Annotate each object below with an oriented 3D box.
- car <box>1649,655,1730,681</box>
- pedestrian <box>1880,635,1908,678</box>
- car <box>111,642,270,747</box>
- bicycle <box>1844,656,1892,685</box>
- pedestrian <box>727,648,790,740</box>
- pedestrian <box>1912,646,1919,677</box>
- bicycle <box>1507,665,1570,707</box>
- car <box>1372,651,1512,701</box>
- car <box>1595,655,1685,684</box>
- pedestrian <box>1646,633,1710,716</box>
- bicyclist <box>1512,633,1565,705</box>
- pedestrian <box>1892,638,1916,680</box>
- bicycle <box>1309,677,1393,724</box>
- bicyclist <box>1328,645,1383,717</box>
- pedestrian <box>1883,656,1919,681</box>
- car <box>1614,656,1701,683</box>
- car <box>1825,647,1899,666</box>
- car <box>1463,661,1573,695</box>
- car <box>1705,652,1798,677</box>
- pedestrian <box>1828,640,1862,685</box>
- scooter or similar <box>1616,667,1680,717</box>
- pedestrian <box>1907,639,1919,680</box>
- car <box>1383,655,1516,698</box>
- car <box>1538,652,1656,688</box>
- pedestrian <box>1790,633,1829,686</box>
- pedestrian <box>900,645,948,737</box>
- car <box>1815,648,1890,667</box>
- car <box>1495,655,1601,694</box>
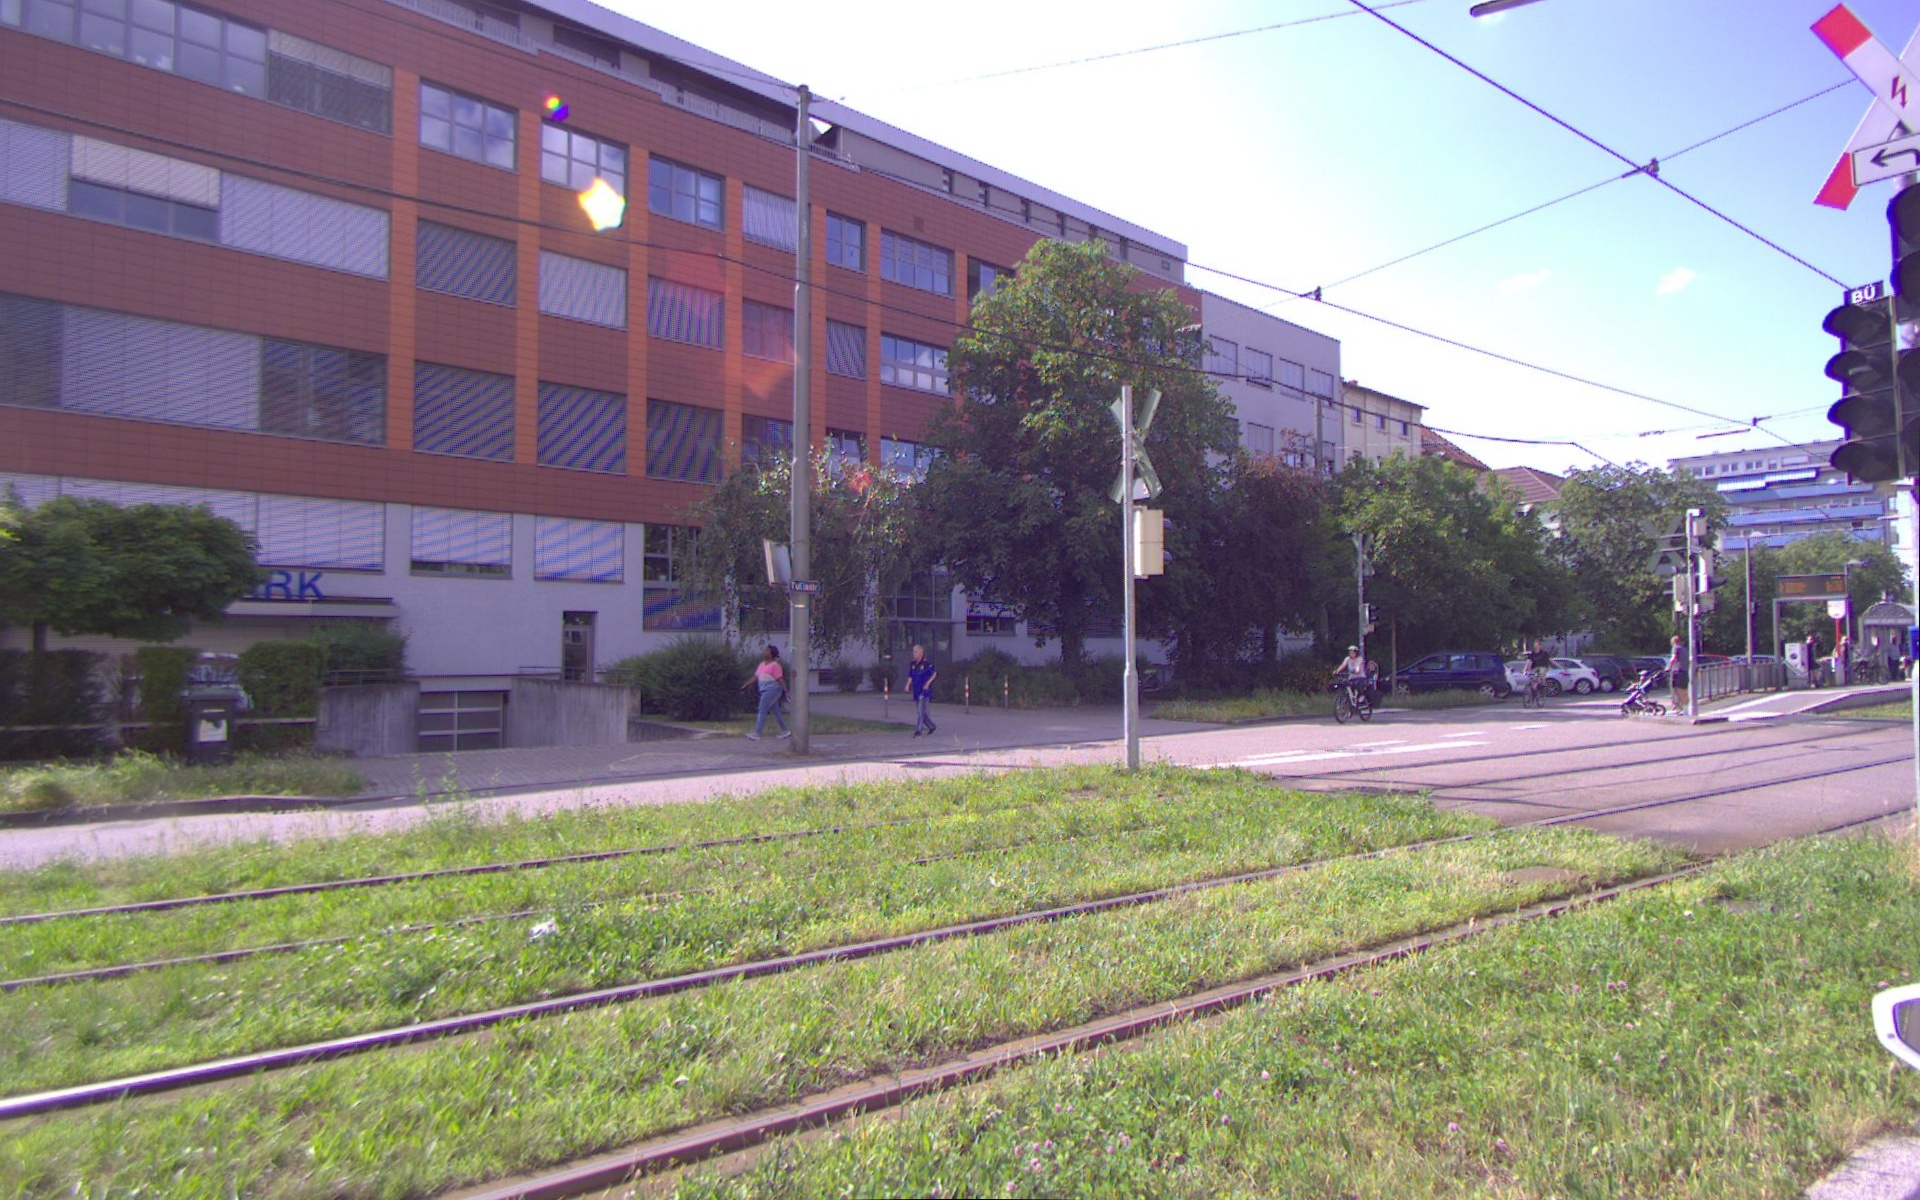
[{"bbox_3d":[38.920,3.625,53.622,3.181,1.326,1.457,-1,-3,6],"label":"car"},{"bbox_3d":[37.475,2.274,40.296,0.650,1.714,0.650,2,-4,-38],"label":"pedestrian"},{"bbox_3d":[-13.375,1.572,17.690,1.980,1.616,3.962,2,-4,-35],"label":"car"},{"bbox_3d":[32.502,2.530,35.941,1.749,0.987,0.683,1,-5,-29],"label":"bicycle"},{"bbox_3d":[-3.622,1.678,18.048,0.879,1.594,0.742,3,-4,-30],"label":"pedestrian"},{"bbox_3d":[46.258,2.955,48.374,0.482,1.471,0.461,-4,-4,42],"label":"pedestrian"},{"bbox_3d":[16.976,2.514,29.477,1.143,1.193,1.777,-5,-6,45],"label":"bicycle"},{"bbox_3d":[16.609,2.616,34.779,4.049,1.662,1.727,-1,-3,13],"label":"car"},{"bbox_3d":[32.247,3.285,47.685,3.181,1.326,1.457,0,-3,4],"label":"car"},{"bbox_3d":[16.079,1.664,22.502,0.996,1.798,0.863,2,-6,-41],"label":"pedestrian"},{"bbox_3d":[16.993,2.006,29.502,0.938,2.040,1.566,-3,-4,44],"label":"bicyclist"},{"bbox_3d":[40.505,2.542,43.103,0.551,1.758,0.590,2,-4,-33],"label":"pedestrian"},{"bbox_3d":[8.872,2.255,22.743,2.157,0.983,0.676,2,-4,-35],"label":"bicycle"},{"bbox_3d":[8.995,1.825,22.851,0.855,1.602,0.780,2,-4,-35],"label":"bicyclist"},{"bbox_3d":[38.676,2.817,41.271,0.790,1.001,0.919,4,-6,-35],"label":"pedestrian"},{"bbox_3d":[34.414,3.420,49.637,3.181,1.326,1.457,-1,-3,6],"label":"car"},{"bbox_3d":[70.385,4.439,78.450,3.920,1.466,1.729,-1,-3,18],"label":"car"},{"bbox_3d":[21.156,2.960,38.193,3.320,1.252,1.546,-1,-3,13],"label":"car"},{"bbox_3d":[46.864,3.841,59.556,3.919,1.385,1.718,-1,-4,11],"label":"car"},{"bbox_3d":[32.218,2.279,36.566,0.678,1.589,0.661,1,-5,-30],"label":"pedestrian"},{"bbox_3d":[15.473,2.059,22.608,0.790,1.078,0.947,2,-5,-38],"label":"scooter or similar"},{"bbox_3d":[41.469,2.565,43.374,0.631,1.789,0.602,1,-3,-29],"label":"pedestrian"},{"bbox_3d":[17.865,2.792,36.823,4.049,1.518,1.727,-1,-3,13],"label":"car"},{"bbox_3d":[27.602,3.041,43.654,3.919,1.475,1.692,-1,-4,12],"label":"car"},{"bbox_3d":[28.287,1.981,33.457,0.654,1.749,0.715,0,-3,4],"label":"pedestrian"},{"bbox_3d":[-0.687,1.706,18.996,0.738,1.678,0.554,2,-4,-30],"label":"pedestrian"},{"bbox_3d":[66.541,4.294,74.901,3.919,1.403,1.641,-1,-3,7],"label":"car"},{"bbox_3d":[23.489,2.984,40.254,3.320,1.524,1.546,-1,-3,14],"label":"car"}]
